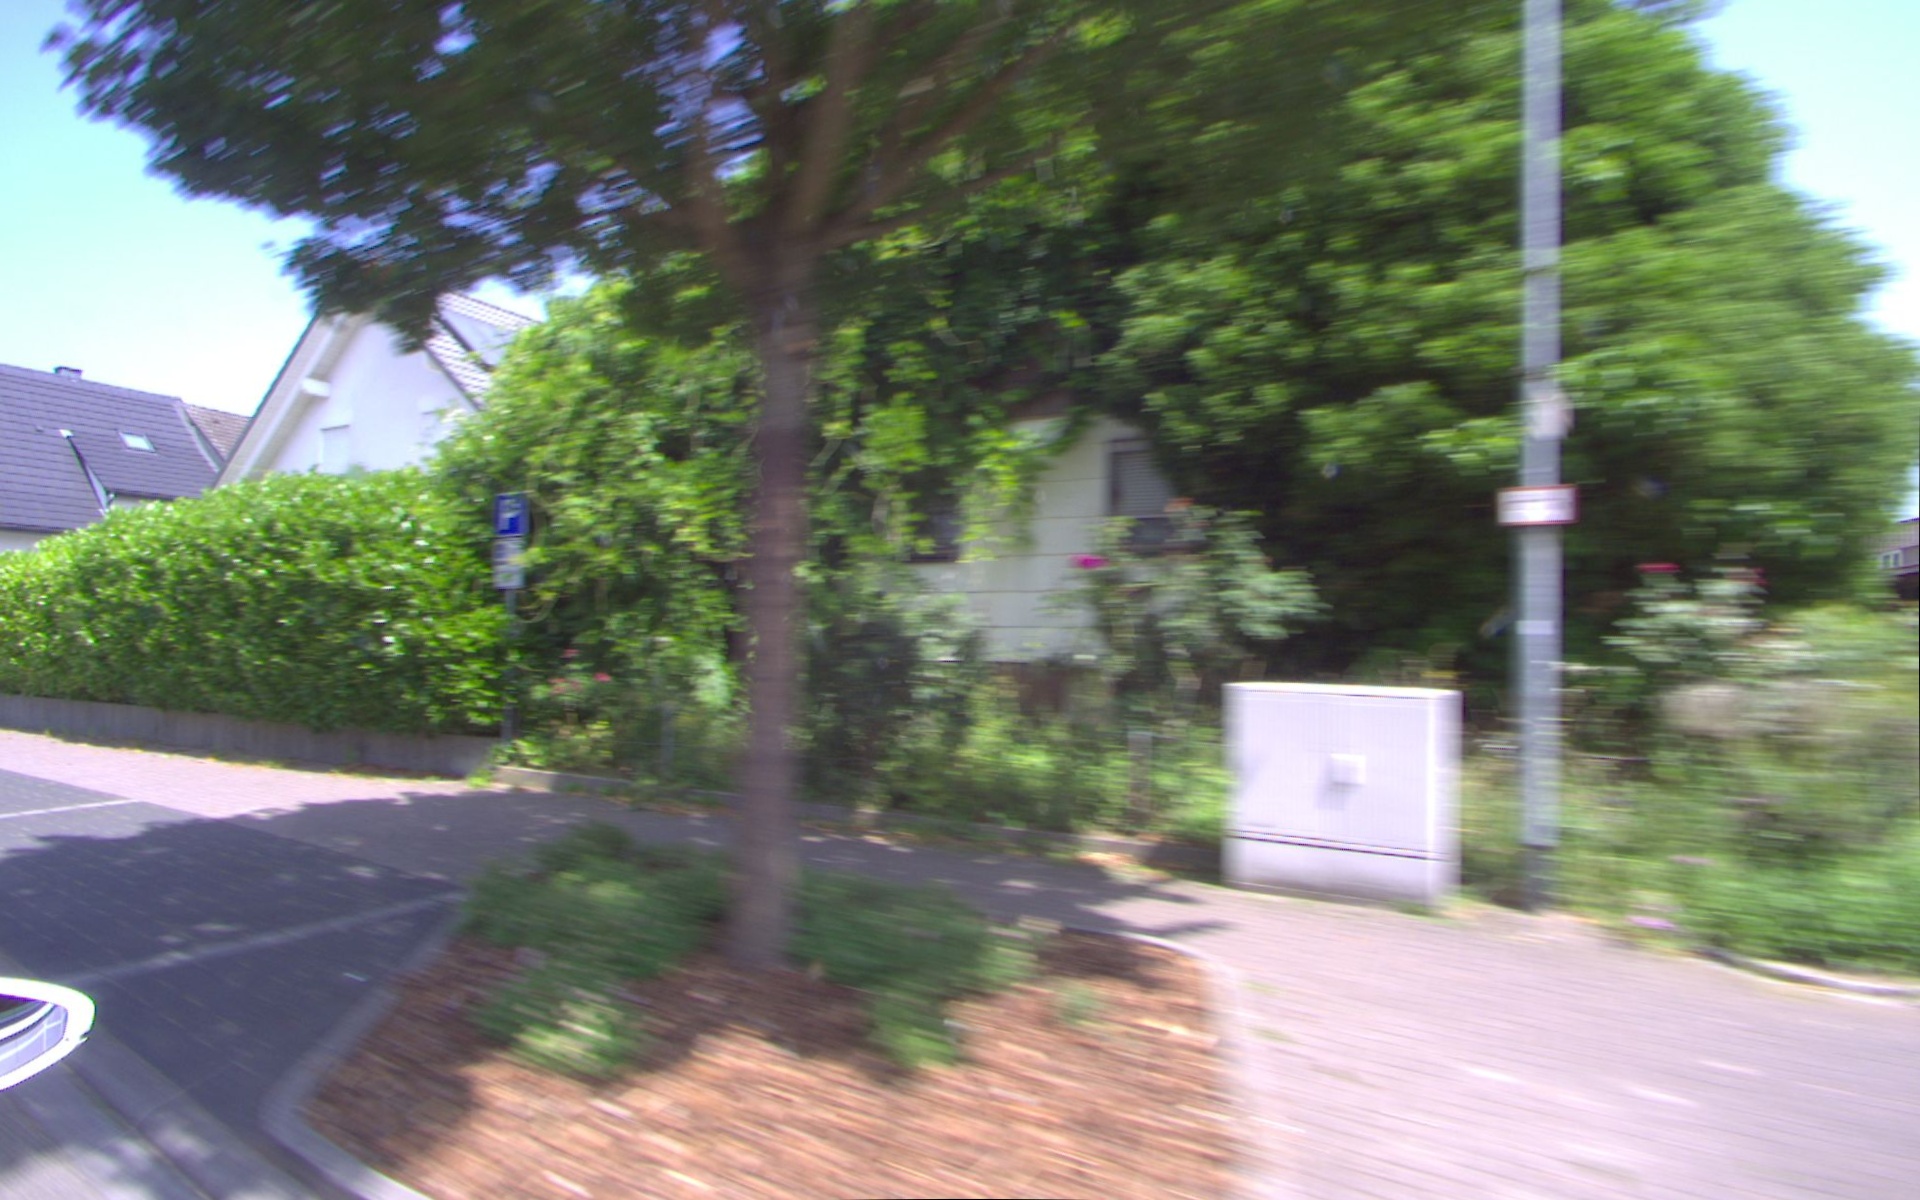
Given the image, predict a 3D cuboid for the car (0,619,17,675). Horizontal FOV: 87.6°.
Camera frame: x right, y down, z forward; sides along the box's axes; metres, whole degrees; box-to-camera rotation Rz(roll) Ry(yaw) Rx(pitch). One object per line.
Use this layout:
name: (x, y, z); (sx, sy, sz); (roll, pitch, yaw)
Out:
car: (-26.940, 1.227, 25.669); (1.737, 1.494, 3.657); (1, 0, 26)
